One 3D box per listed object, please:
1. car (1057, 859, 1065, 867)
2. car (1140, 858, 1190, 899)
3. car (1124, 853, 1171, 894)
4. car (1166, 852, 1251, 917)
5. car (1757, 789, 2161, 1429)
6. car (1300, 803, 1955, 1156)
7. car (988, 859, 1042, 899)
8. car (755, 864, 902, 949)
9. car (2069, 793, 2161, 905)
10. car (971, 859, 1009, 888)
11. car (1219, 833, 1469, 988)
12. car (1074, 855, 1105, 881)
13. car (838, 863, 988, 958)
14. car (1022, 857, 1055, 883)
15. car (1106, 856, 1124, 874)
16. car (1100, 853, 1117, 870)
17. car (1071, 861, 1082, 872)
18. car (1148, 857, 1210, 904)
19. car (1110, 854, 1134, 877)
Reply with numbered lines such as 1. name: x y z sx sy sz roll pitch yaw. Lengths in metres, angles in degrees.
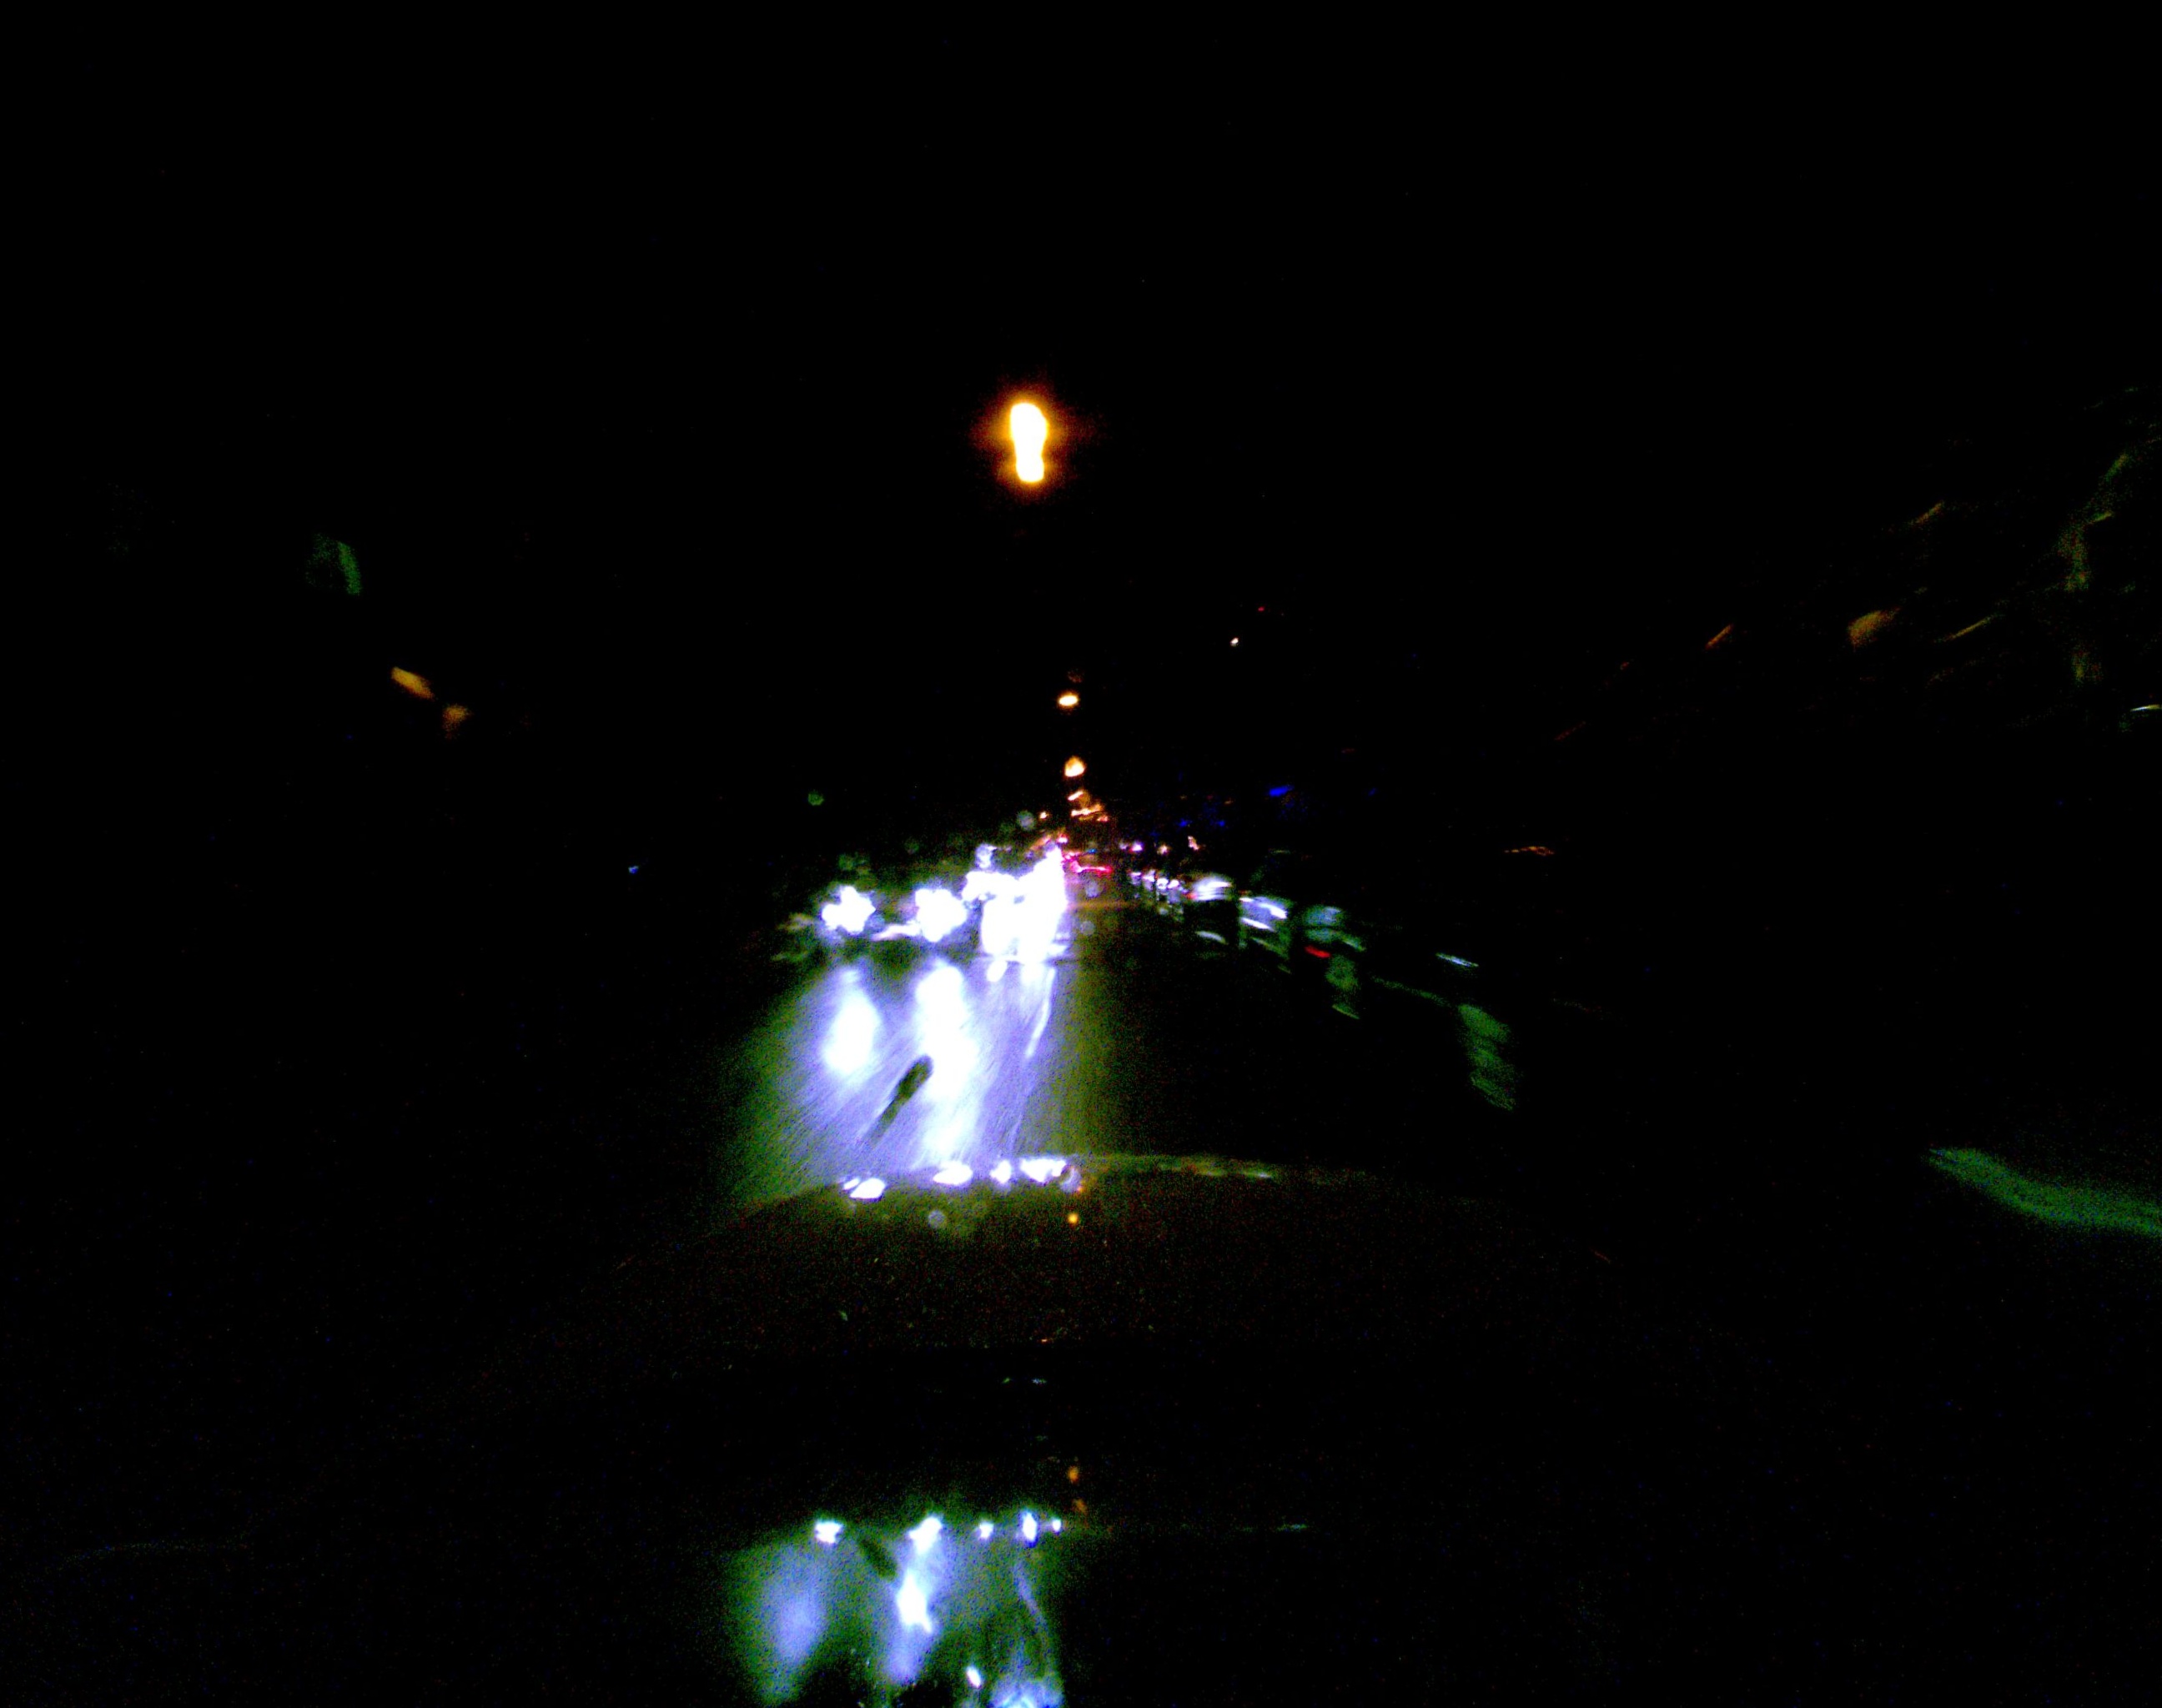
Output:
1. car: -4.507 2.079 183.410 1.531 1.709 3.803 -4 0 0
2. car: 3.250 0.911 32.118 1.491 1.388 3.747 -4 0 0
3. car: 3.088 0.868 38.430 1.815 1.673 4.000 -4 0 0
4. car: 3.361 0.748 22.207 1.622 1.466 4.511 -4 0 1
5. car: 3.446 0.576 0.983 1.748 1.528 4.153 -5 0 0
6. car: 3.299 0.599 6.254 1.875 1.572 4.527 -5 0 0
7. car: -2.594 0.951 32.901 1.852 1.461 4.521 -1 0 -1
8. car: -5.395 1.042 18.090 1.572 1.457 4.646 -5 0 2
9. car: 15.361 -0.152 10.288 3.672 1.400 1.621 -3 0 2
10. car: -5.247 1.093 47.427 1.571 1.462 3.999 -7 0 0
11. car: 3.318 0.613 11.367 1.875 1.572 4.587 -5 0 0
12. car: 0.584 0.942 56.396 1.986 1.684 4.001 -2 0 1
13. car: -2.856 0.895 14.875 1.669 1.434 4.513 -1 0 1
14. car: -2.589 0.935 50.444 1.815 1.463 4.864 -1 0 0
15. car: 3.352 1.064 81.087 1.531 1.561 3.803 -4 0 0
16. car: 2.925 0.777 87.605 1.531 1.709 3.803 -4 0 0
17. car: -0.719 2.215 146.371 1.806 1.709 3.803 -4 0 0
18. car: 3.273 0.852 27.845 1.598 1.388 3.792 -5 0 0
19. car: 3.038 0.837 61.119 1.531 1.561 3.803 -4 0 0
